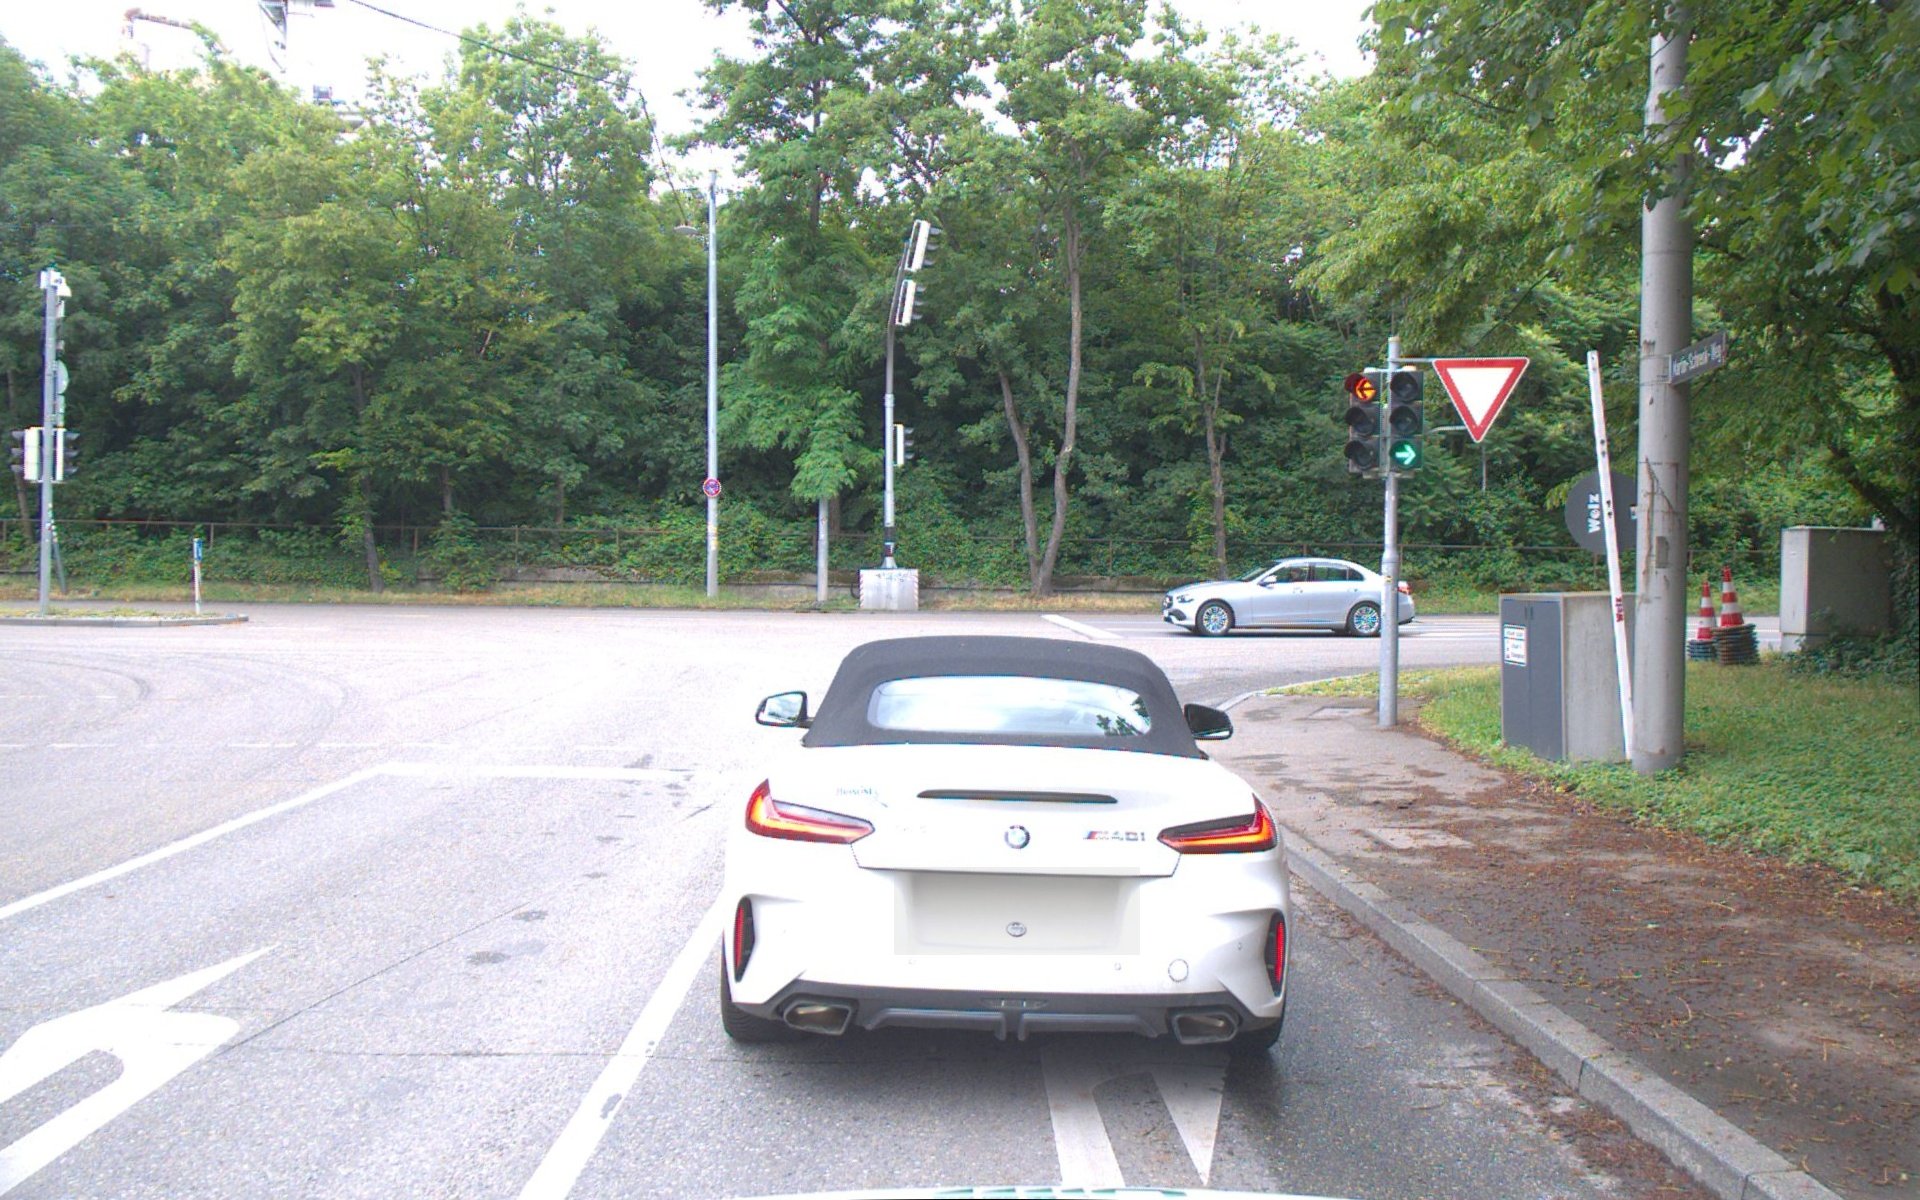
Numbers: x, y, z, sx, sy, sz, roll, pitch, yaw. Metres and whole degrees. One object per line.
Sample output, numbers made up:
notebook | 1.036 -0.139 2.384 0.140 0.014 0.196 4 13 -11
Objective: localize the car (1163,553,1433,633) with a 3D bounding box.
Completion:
car | 6.291 -0.149 31.093 4.656 1.356 1.833 1 3 -2

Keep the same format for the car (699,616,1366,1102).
car | 0.113 0.749 6.496 1.791 1.279 3.997 2 -1 -3
